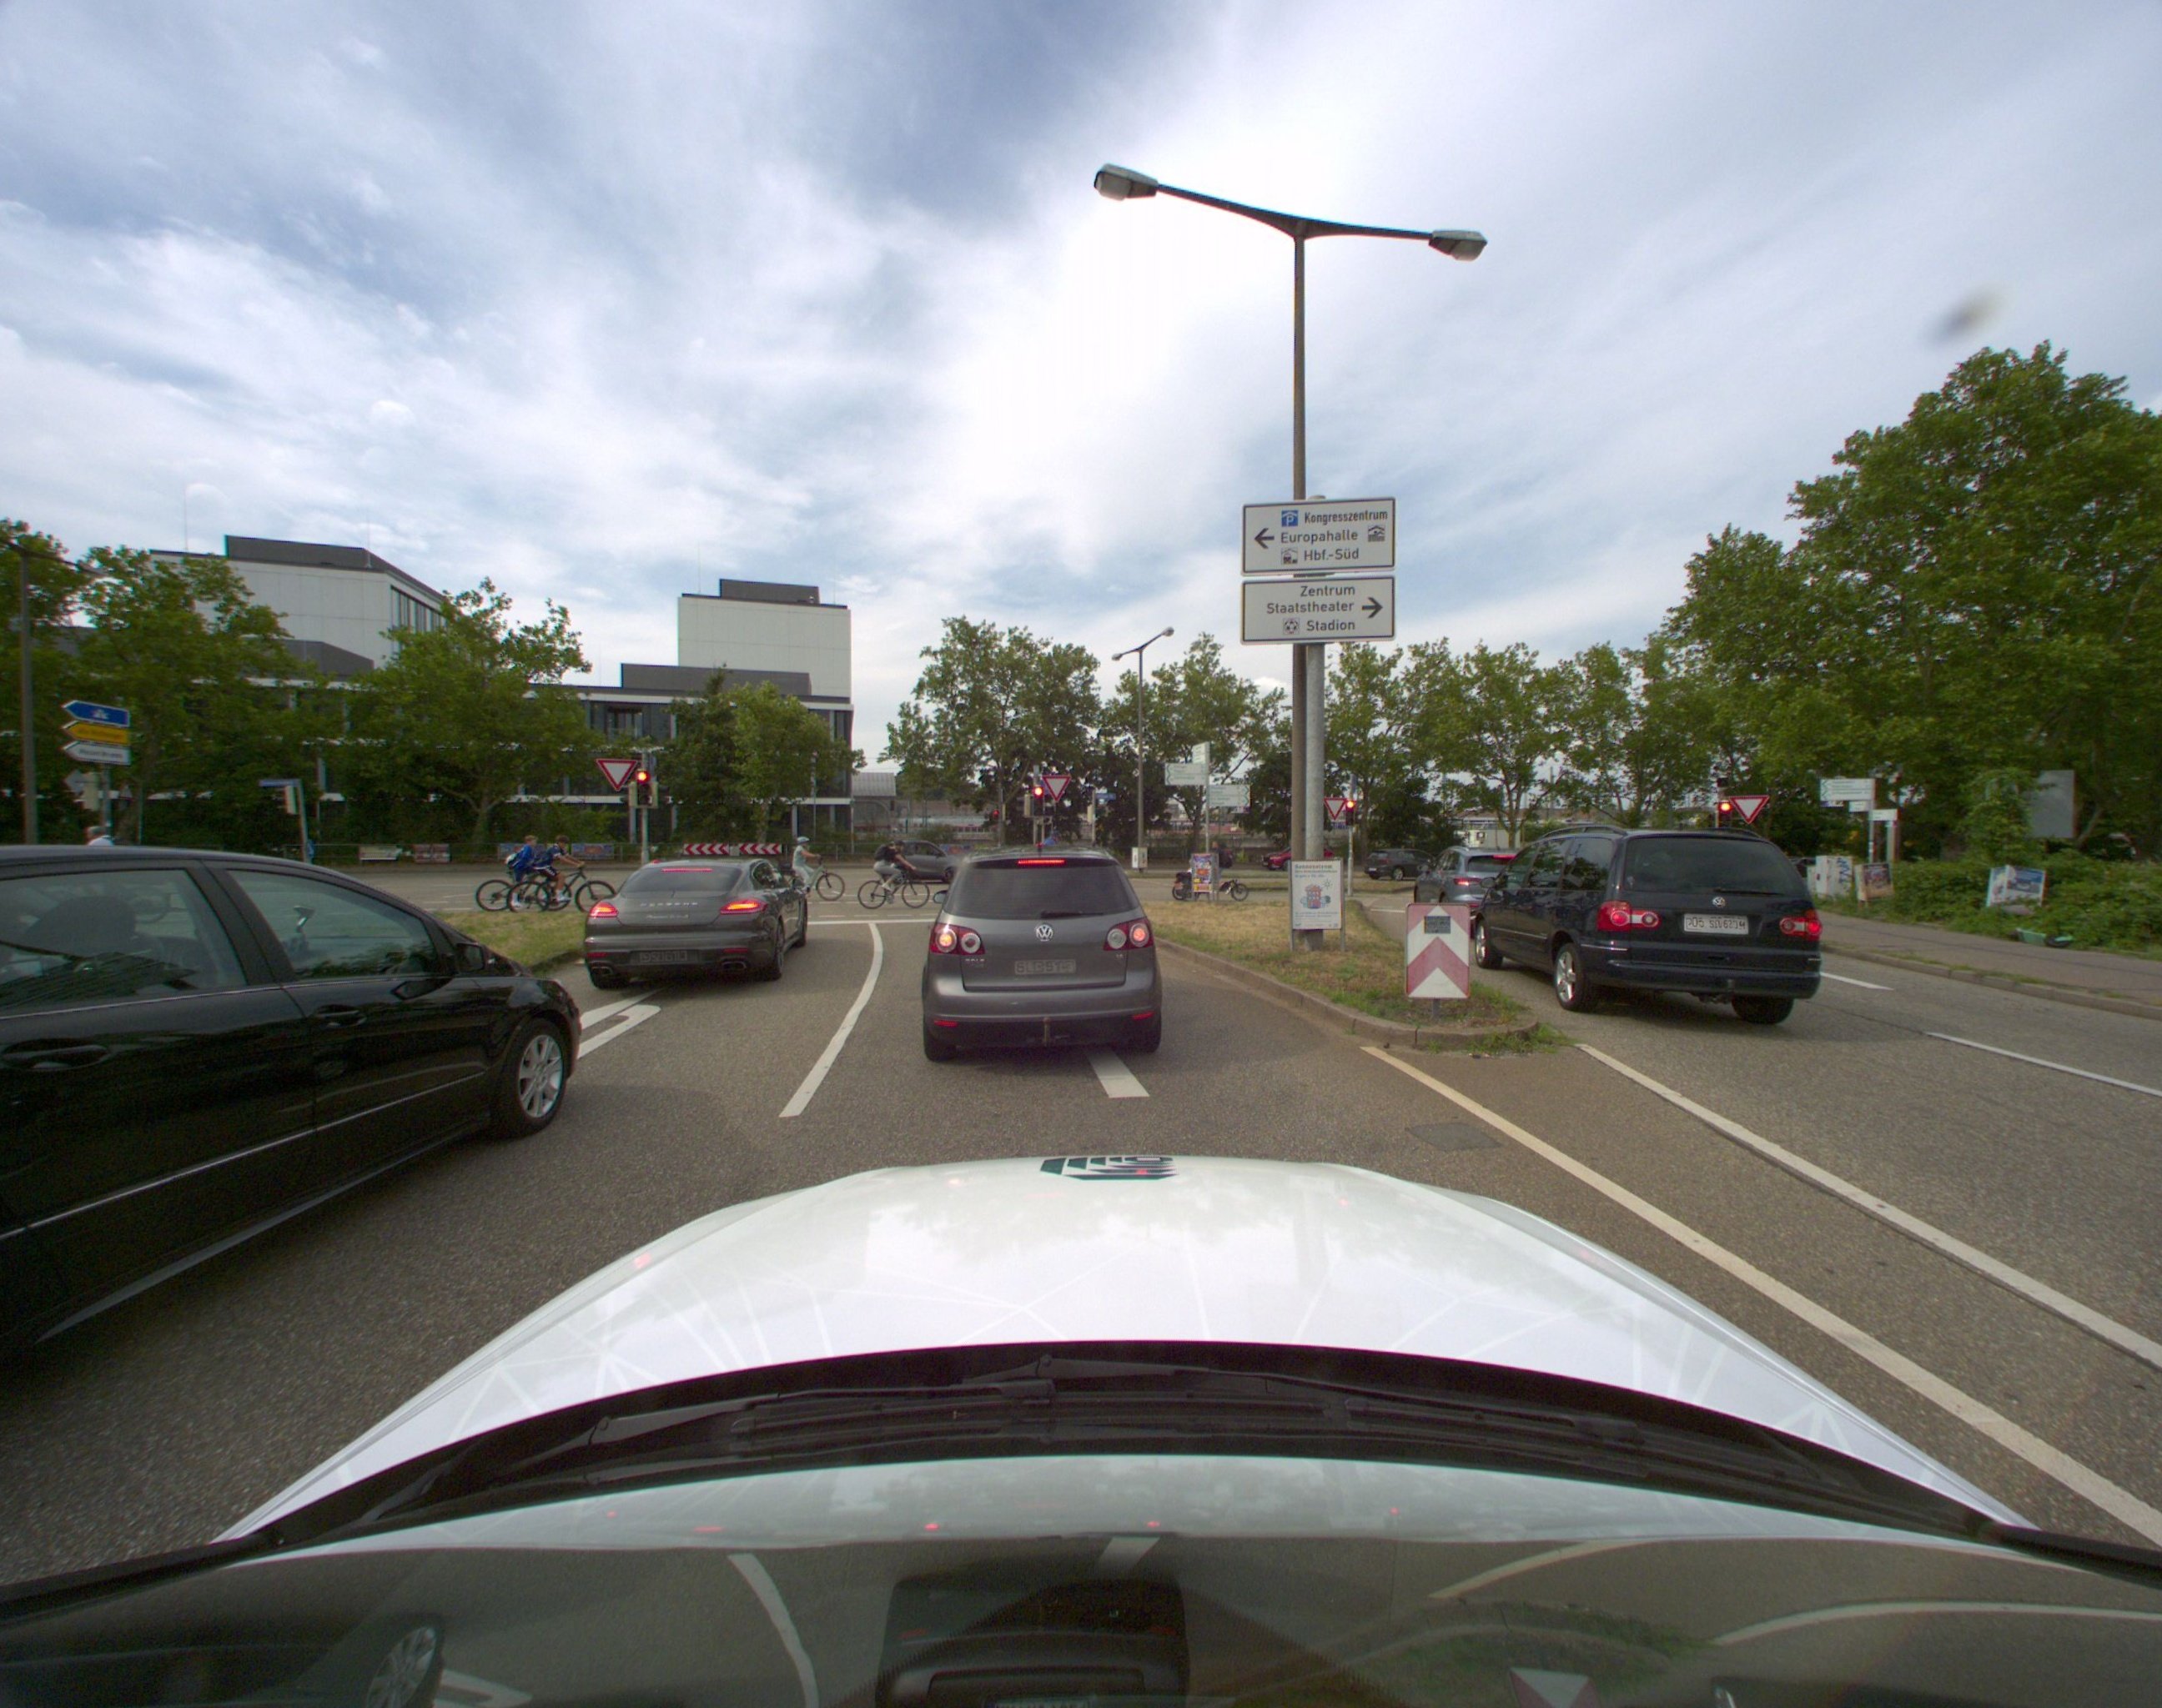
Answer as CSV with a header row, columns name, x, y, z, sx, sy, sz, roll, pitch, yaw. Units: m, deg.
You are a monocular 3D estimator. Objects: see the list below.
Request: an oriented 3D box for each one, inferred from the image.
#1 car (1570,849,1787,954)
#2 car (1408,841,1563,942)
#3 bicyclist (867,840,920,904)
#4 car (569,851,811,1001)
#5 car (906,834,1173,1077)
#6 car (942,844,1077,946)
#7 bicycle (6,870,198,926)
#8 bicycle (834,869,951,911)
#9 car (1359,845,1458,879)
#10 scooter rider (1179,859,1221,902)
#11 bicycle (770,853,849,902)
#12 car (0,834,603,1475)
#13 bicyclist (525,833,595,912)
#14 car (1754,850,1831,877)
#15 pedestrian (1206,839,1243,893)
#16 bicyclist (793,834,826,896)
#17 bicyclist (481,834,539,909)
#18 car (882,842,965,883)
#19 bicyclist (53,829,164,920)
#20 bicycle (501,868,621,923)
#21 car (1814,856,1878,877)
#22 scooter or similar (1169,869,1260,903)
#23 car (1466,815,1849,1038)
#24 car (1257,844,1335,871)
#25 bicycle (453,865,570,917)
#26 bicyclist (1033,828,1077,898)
name,x,y,z,sx,sy,sz,roll,pitch,yaw
car,10.858,0.762,15.202,1.738,1.643,4.152,2,0,13
car,7.391,0.604,15.300,1.679,1.585,4.171,2,0,13
bicyclist,-4.416,0.409,19.141,1.118,1.436,0.643,-1,1,-22
car,-4.631,0.691,10.430,1.821,1.414,4.754,0,1,-13
car,-0.459,0.641,7.363,1.739,1.546,4.073,-1,0,-6
car,-1.393,0.594,14.108,1.743,1.482,4.063,-1,0,-14
bicycle,-18.879,0.827,15.780,2.238,0.952,0.805,-1,0,-23
bicycle,-4.421,0.824,19.147,2.593,0.890,0.700,-1,1,-22
car,14.936,0.342,37.150,4.067,1.450,1.693,-1,0,-17
scooter rider,3.270,0.721,22.493,0.915,1.137,0.805,-1,1,-14
bicycle,-7.075,0.604,21.297,1.905,1.210,0.639,-1,1,-16
car,-3.651,0.722,2.964,1.755,1.575,4.028,0,1,-6
bicyclist,-10.419,0.359,16.322,1.019,1.539,0.625,-1,1,-18
car,45.556,0.602,52.174,3.907,1.596,1.902,-1,1,-16
pedestrian,4.662,0.374,26.425,1.038,1.710,0.858,1,1,19
bicyclist,-7.084,0.277,21.277,0.781,1.581,0.651,-1,1,-15
bicyclist,-12.015,0.349,17.170,0.841,1.529,0.624,-1,1,-20
car,-5.661,0.281,29.190,2.719,1.422,1.490,-1,0,-19
bicyclist,-18.829,0.379,15.805,1.117,1.696,0.807,-1,0,-23
bicycle,-10.400,0.805,16.346,1.906,1.013,0.625,-1,1,-18
car,55.180,0.869,58.763,3.963,1.448,1.692,-1,0,-19
scooter or similar,3.698,0.875,22.619,2.382,0.849,0.805,-1,1,-15
car,5.575,0.566,8.602,1.739,1.724,4.151,2,0,11
car,11.988,0.181,45.409,3.963,1.448,1.692,-1,0,-19
bicycle,-11.971,0.761,17.177,1.907,1.013,0.624,-1,1,-21
bicyclist,-0.635,0.211,19.775,0.883,1.656,0.807,-1,0,-17
